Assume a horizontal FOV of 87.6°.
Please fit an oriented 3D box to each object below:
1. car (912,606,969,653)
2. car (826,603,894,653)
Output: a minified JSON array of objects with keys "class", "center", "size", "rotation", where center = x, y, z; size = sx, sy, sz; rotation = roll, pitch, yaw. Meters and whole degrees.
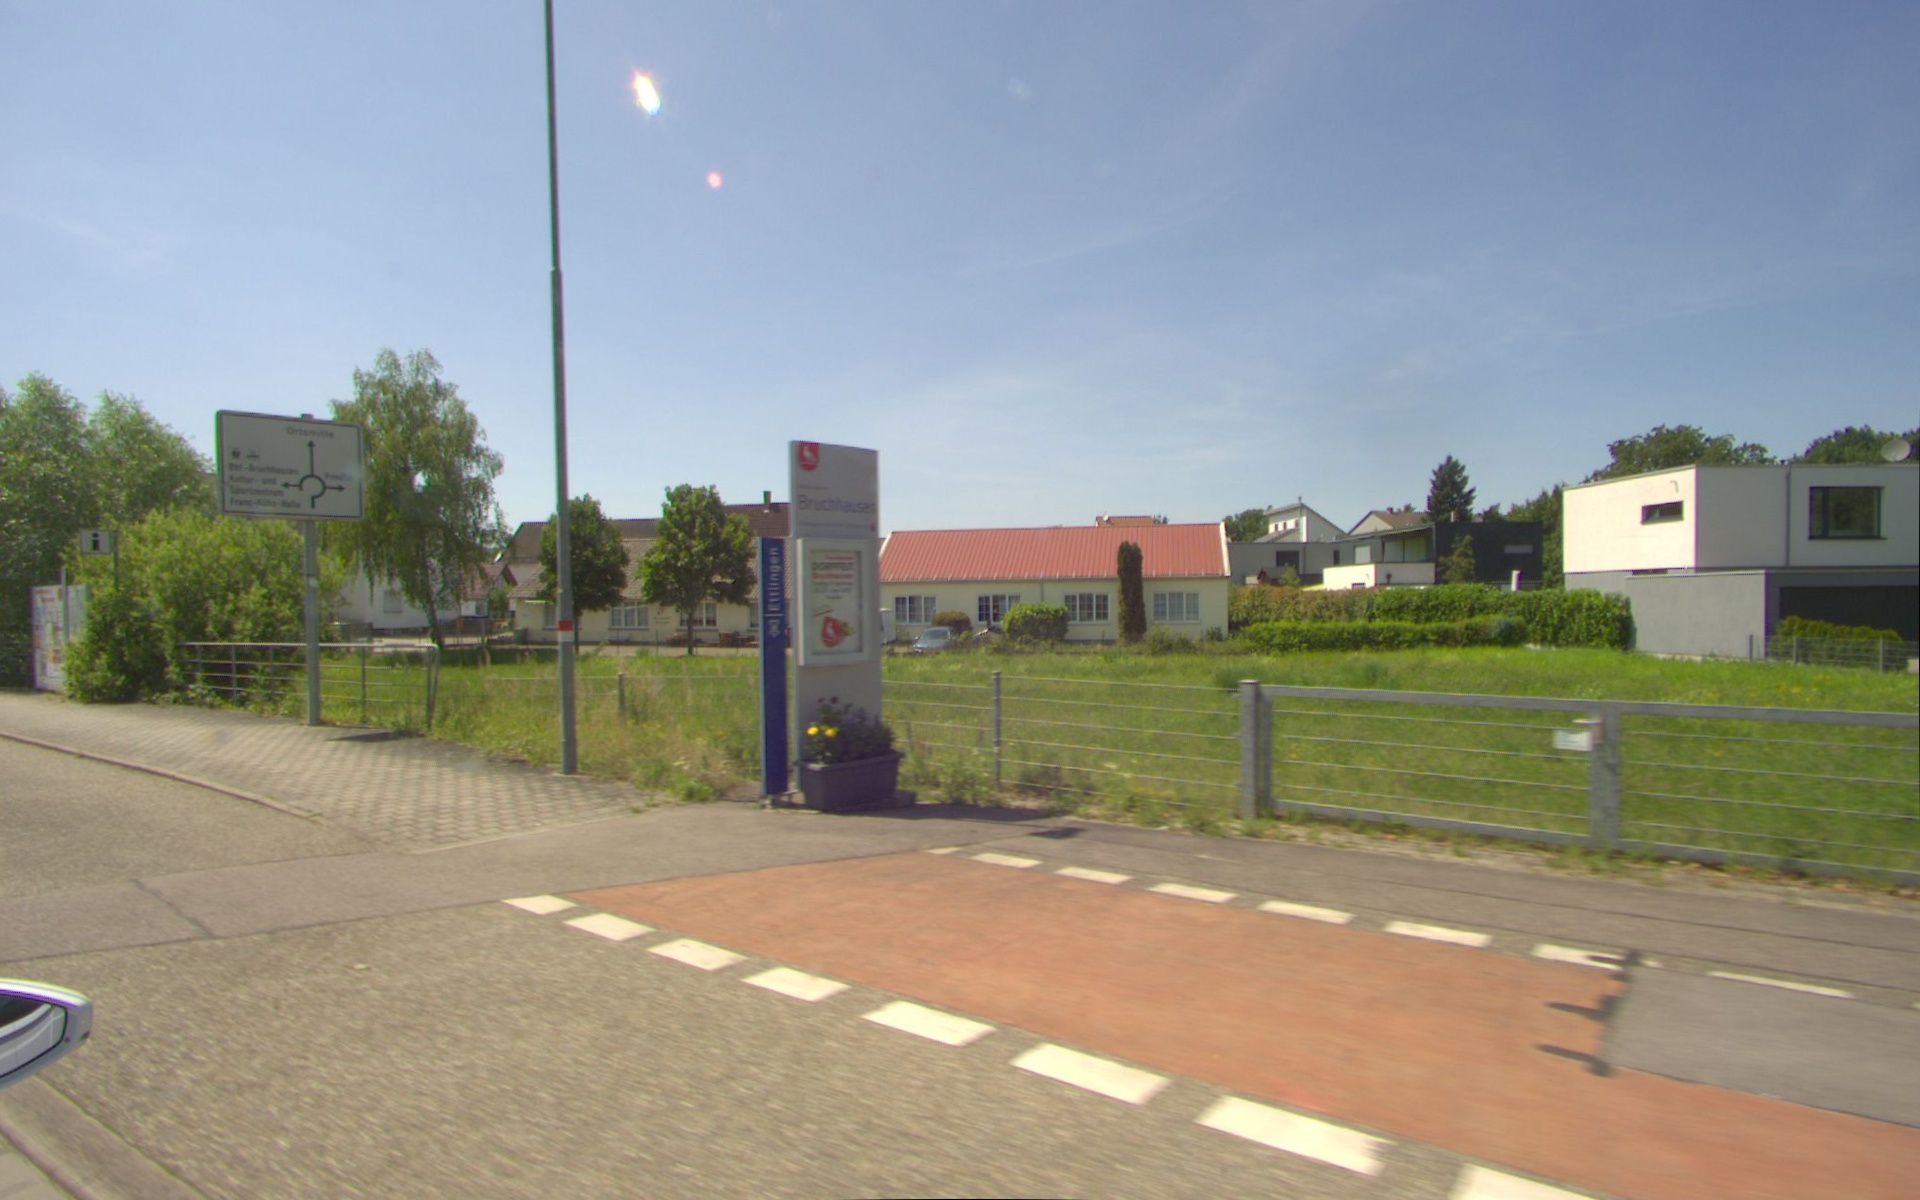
[{"class":"car","center":[-0.838,1.374,46.594],"size":[2.030,2.039,4.934],"rotation":[0,-2,7]},{"class":"car","center":[-4.646,1.339,47.400],"size":[2.173,2.229,5.185],"rotation":[0,-2,7]}]
